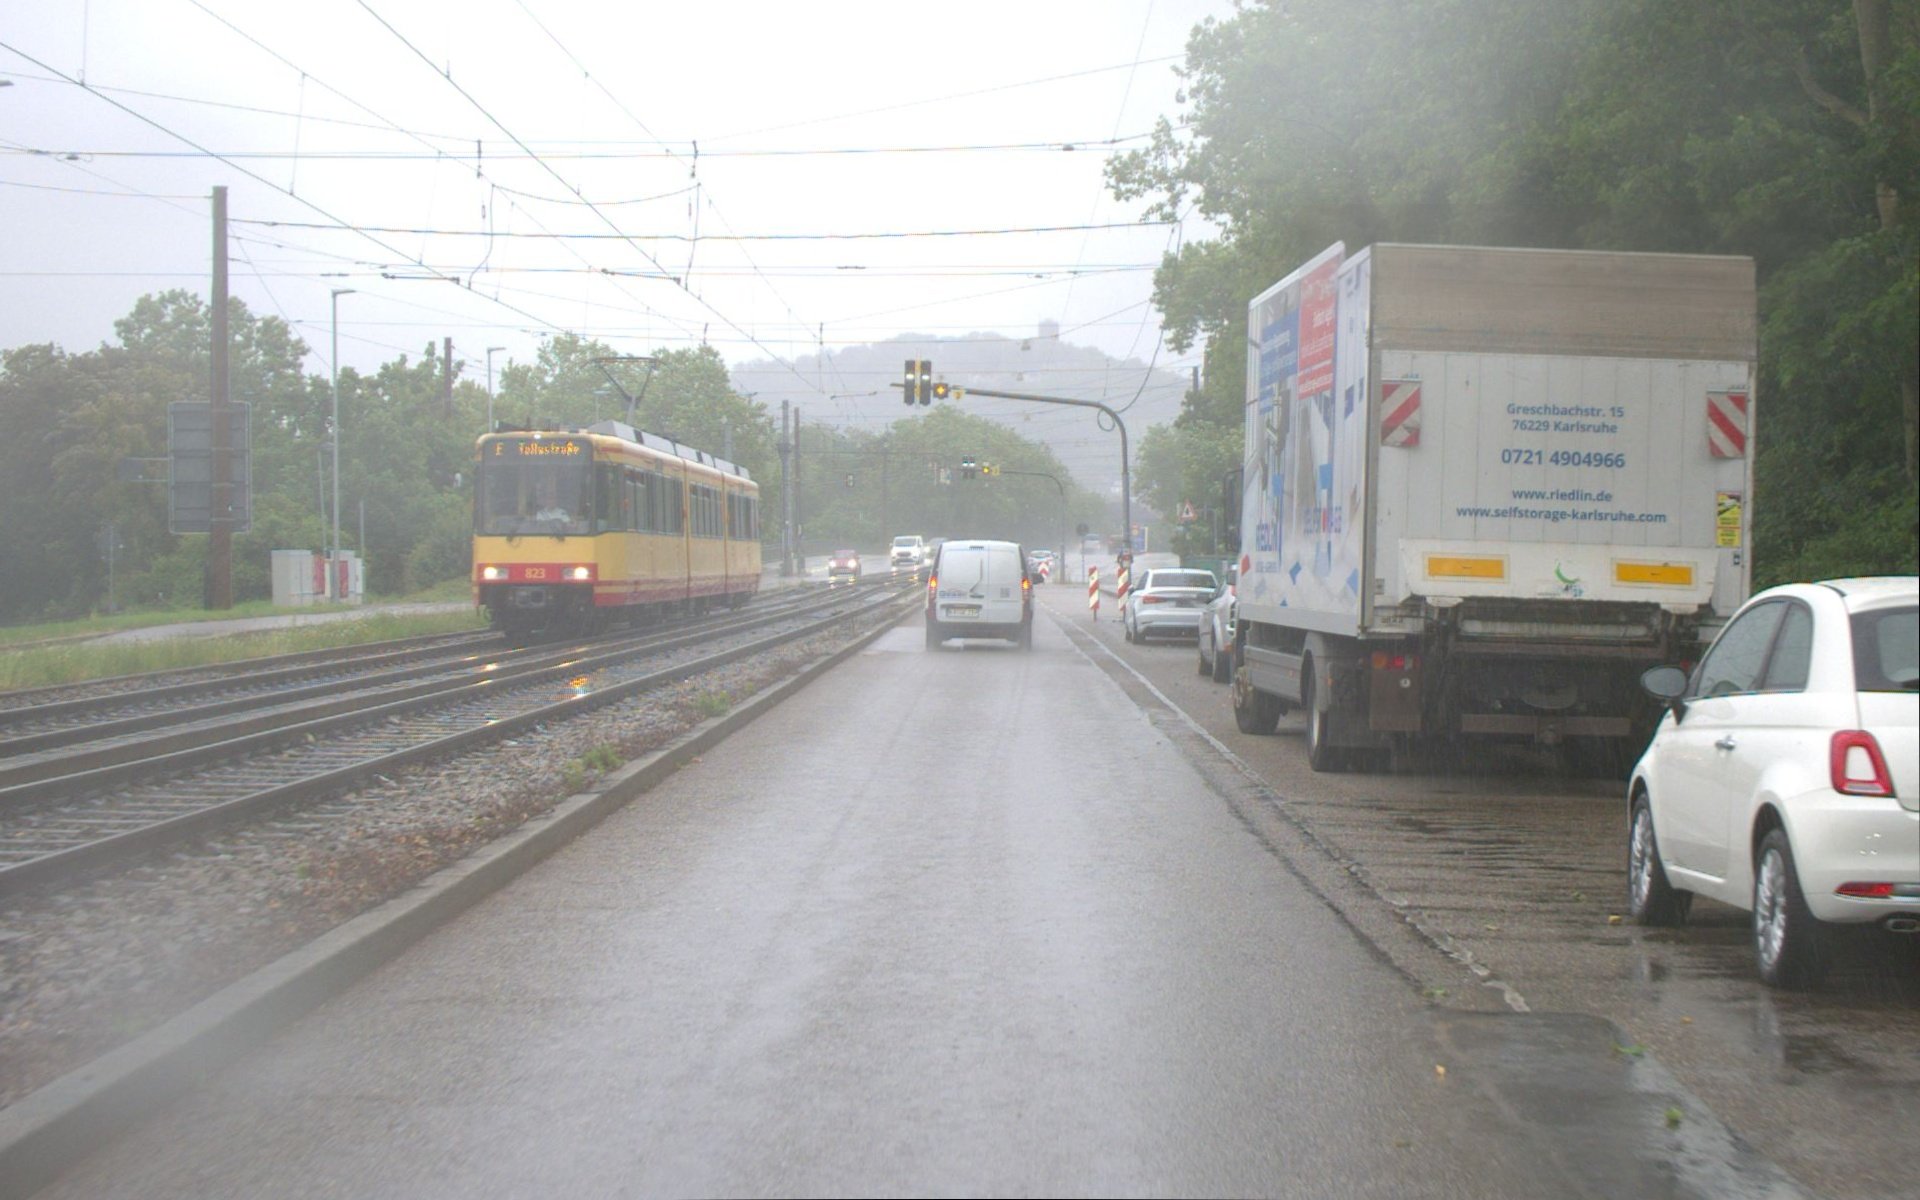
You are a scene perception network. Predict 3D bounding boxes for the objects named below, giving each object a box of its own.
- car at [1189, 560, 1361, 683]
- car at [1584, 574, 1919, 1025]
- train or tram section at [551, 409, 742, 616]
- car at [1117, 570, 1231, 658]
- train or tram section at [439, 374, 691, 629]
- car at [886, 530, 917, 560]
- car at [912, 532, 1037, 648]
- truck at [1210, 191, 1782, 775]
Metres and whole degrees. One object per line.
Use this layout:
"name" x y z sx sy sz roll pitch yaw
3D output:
"car" 4.003 0.250 44.312 1.812 1.454 4.346 2 0 1
"car" 3.701 0.675 13.774 1.713 1.524 4.000 1 1 1
"train or tram section" -6.724 -1.799 75.648 2.806 4.135 13.019 1 0 1
"car" 3.904 0.230 63.363 1.819 1.481 4.481 2 1 1
"train or tram section" -6.962 -1.683 62.625 2.807 4.135 13.019 1 1 1
"car" -4.136 -3.874 242.850 1.993 2.007 4.000 1 0 2
"car" 0.252 -0.182 57.417 1.993 1.842 4.000 1 1 0
"truck" 3.782 -0.750 26.874 2.775 3.692 9.852 1 0 -1
